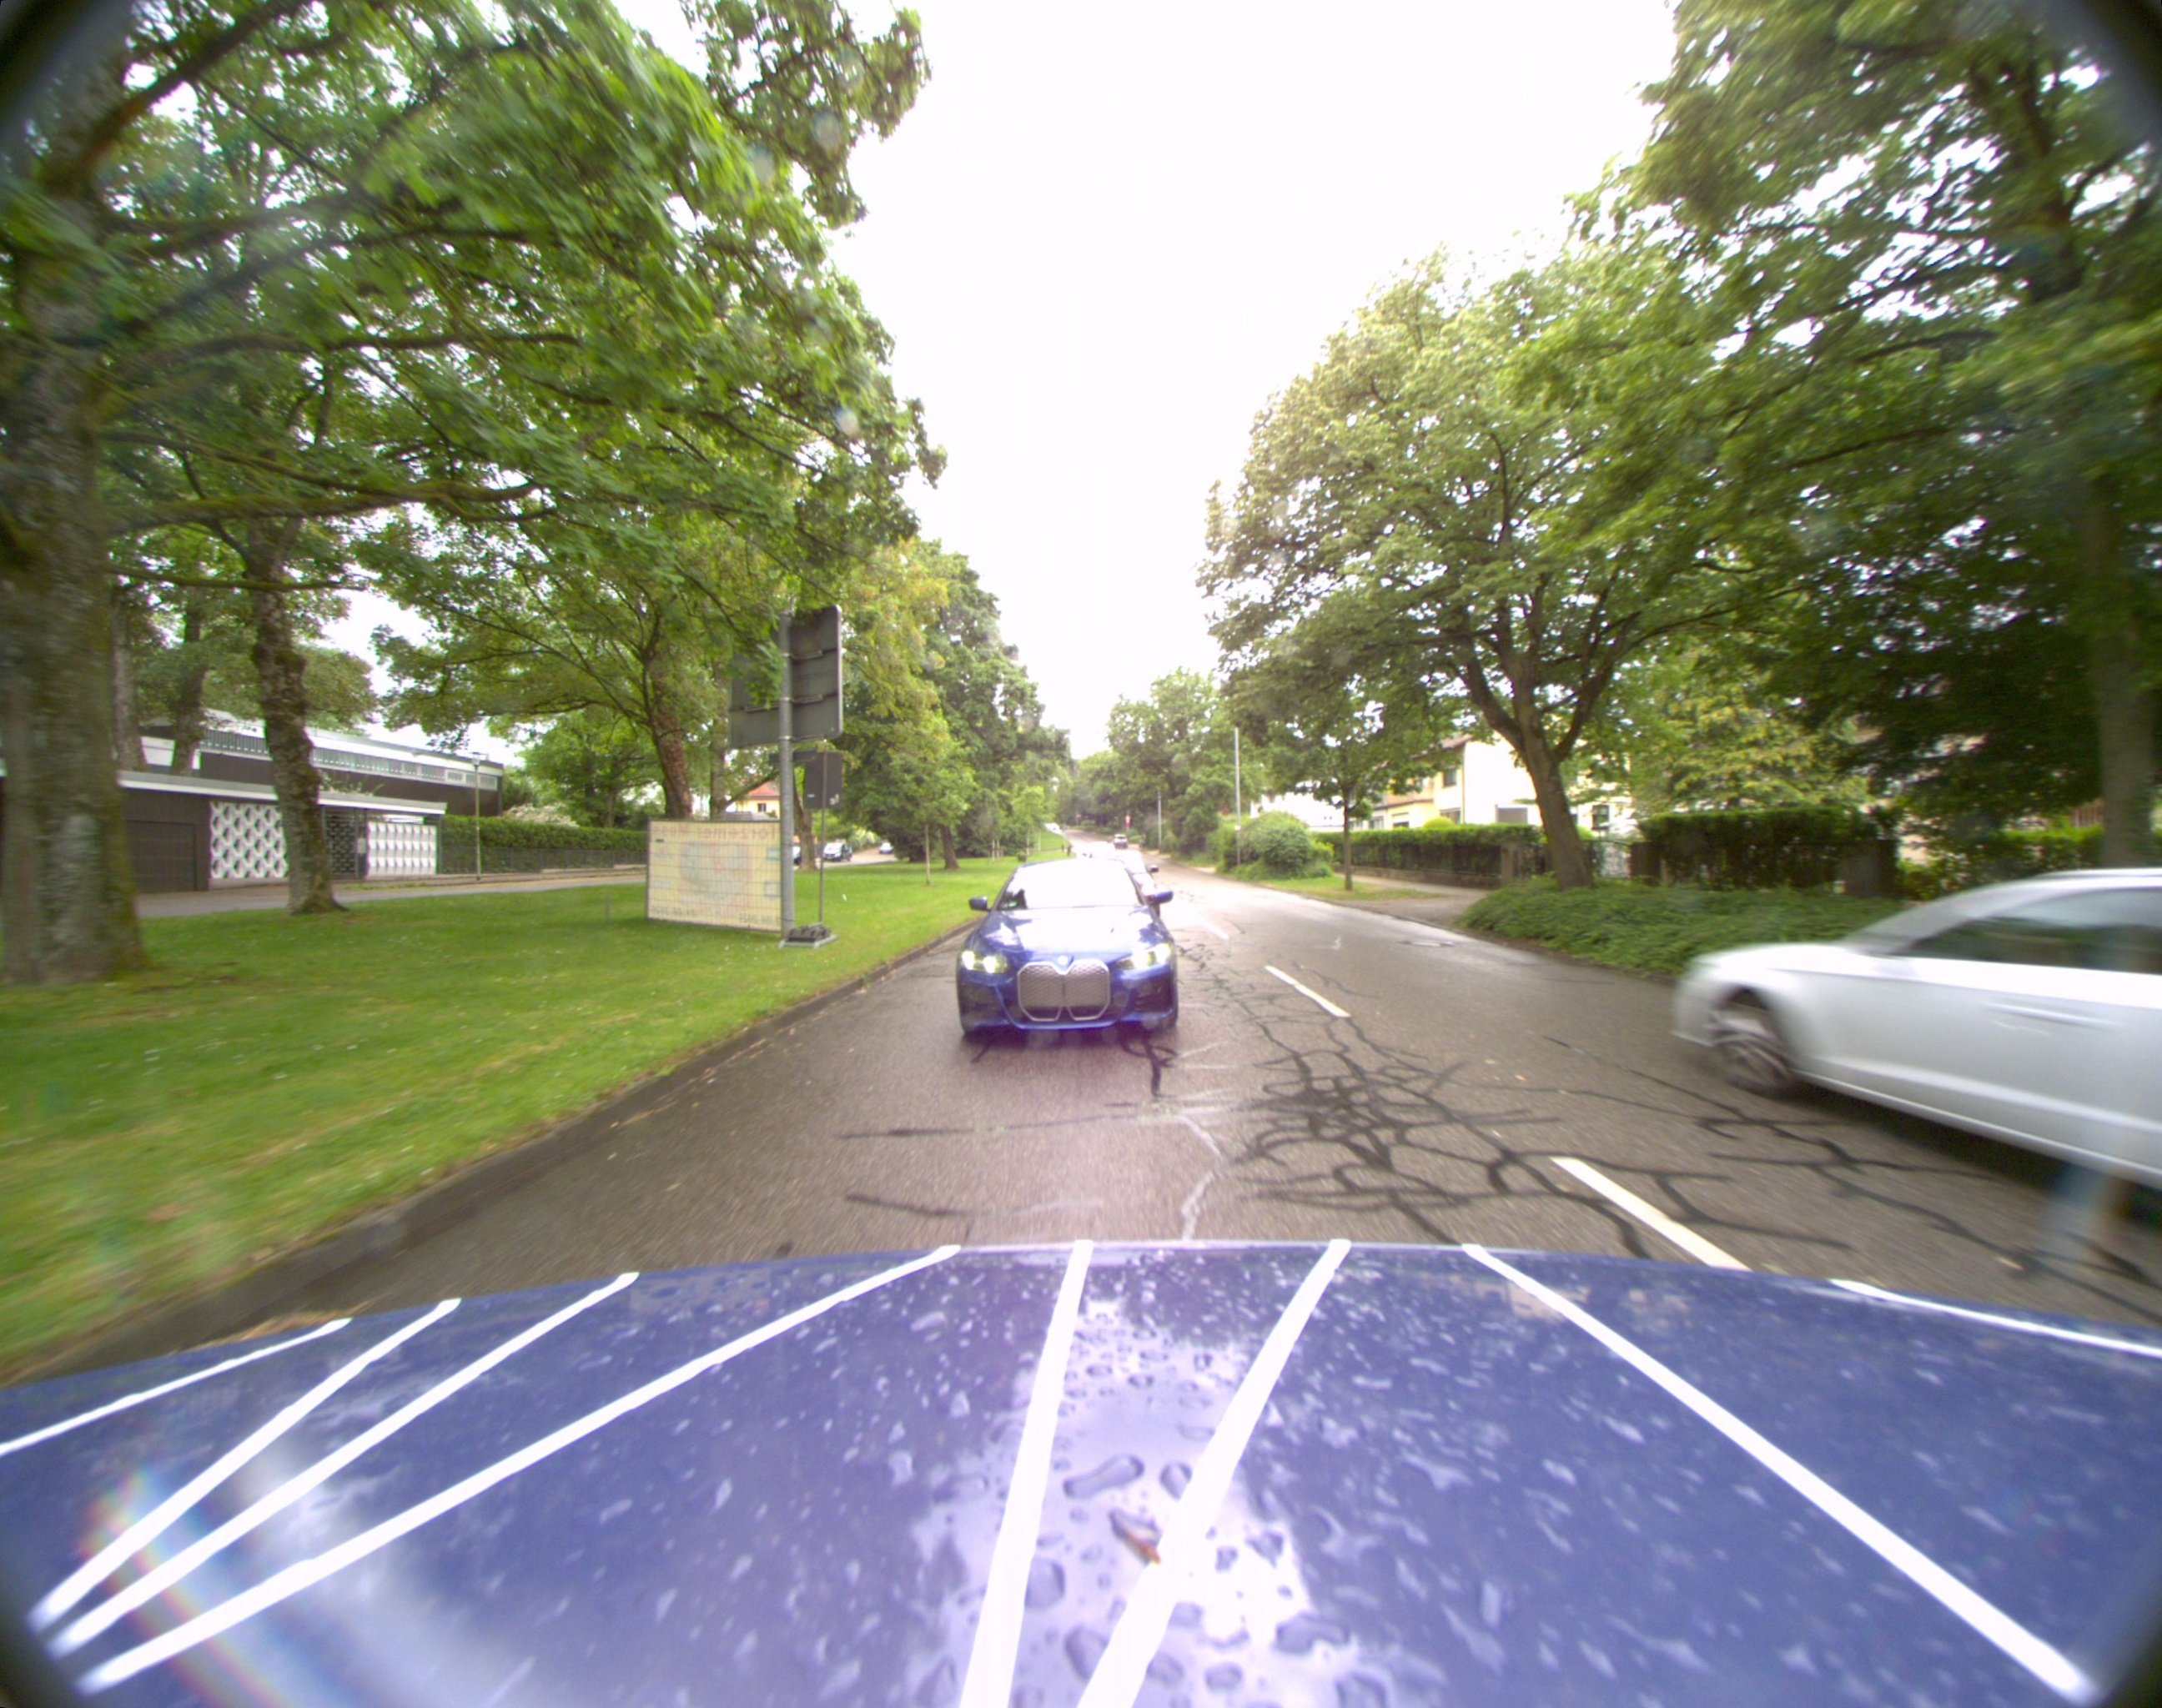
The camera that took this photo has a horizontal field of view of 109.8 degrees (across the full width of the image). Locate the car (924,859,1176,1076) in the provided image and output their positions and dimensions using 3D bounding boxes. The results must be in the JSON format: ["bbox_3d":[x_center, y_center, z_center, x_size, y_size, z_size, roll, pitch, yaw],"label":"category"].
[{"bbox_3d":[-0.112,0.862,7.857,1.795,1.459,4.510,-3,1,3],"label":"car"}]

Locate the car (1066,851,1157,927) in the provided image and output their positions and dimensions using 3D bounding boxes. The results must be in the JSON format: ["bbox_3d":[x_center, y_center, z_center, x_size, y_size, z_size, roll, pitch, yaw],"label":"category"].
[{"bbox_3d":[0.733,0.689,17.434,1.795,1.459,4.510,-1,1,3],"label":"car"}]

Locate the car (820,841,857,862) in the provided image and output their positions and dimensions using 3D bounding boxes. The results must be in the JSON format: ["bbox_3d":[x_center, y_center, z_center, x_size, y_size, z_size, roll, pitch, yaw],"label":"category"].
[{"bbox_3d":[-23.956,-0.286,75.369,2.165,1.868,5.067,0,2,-2],"label":"car"}]

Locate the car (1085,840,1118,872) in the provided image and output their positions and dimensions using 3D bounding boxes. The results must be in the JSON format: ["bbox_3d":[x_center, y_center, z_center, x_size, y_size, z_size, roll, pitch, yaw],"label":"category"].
[{"bbox_3d":[1.074,0.069,39.529,1.678,1.543,3.831,0,2,2],"label":"car"}]

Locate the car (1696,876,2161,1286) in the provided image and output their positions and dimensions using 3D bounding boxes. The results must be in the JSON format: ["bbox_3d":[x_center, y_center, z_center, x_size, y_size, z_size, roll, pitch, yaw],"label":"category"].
[{"bbox_3d":[4.730,0.861,2.850,1.612,1.419,4.008,0,0,1],"label":"car"}]

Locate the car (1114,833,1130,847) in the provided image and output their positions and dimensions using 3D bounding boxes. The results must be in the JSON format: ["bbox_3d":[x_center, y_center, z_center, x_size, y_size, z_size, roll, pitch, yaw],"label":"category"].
[{"bbox_3d":[4.873,-1.651,90.795,1.768,1.605,4.140,0,1,1],"label":"car"}]

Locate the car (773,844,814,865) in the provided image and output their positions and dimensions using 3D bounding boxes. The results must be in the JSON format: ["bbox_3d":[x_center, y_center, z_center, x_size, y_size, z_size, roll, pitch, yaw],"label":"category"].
[{"bbox_3d":[-23.258,0.012,61.649,1.907,1.615,4.033,0,2,-2],"label":"car"}]
